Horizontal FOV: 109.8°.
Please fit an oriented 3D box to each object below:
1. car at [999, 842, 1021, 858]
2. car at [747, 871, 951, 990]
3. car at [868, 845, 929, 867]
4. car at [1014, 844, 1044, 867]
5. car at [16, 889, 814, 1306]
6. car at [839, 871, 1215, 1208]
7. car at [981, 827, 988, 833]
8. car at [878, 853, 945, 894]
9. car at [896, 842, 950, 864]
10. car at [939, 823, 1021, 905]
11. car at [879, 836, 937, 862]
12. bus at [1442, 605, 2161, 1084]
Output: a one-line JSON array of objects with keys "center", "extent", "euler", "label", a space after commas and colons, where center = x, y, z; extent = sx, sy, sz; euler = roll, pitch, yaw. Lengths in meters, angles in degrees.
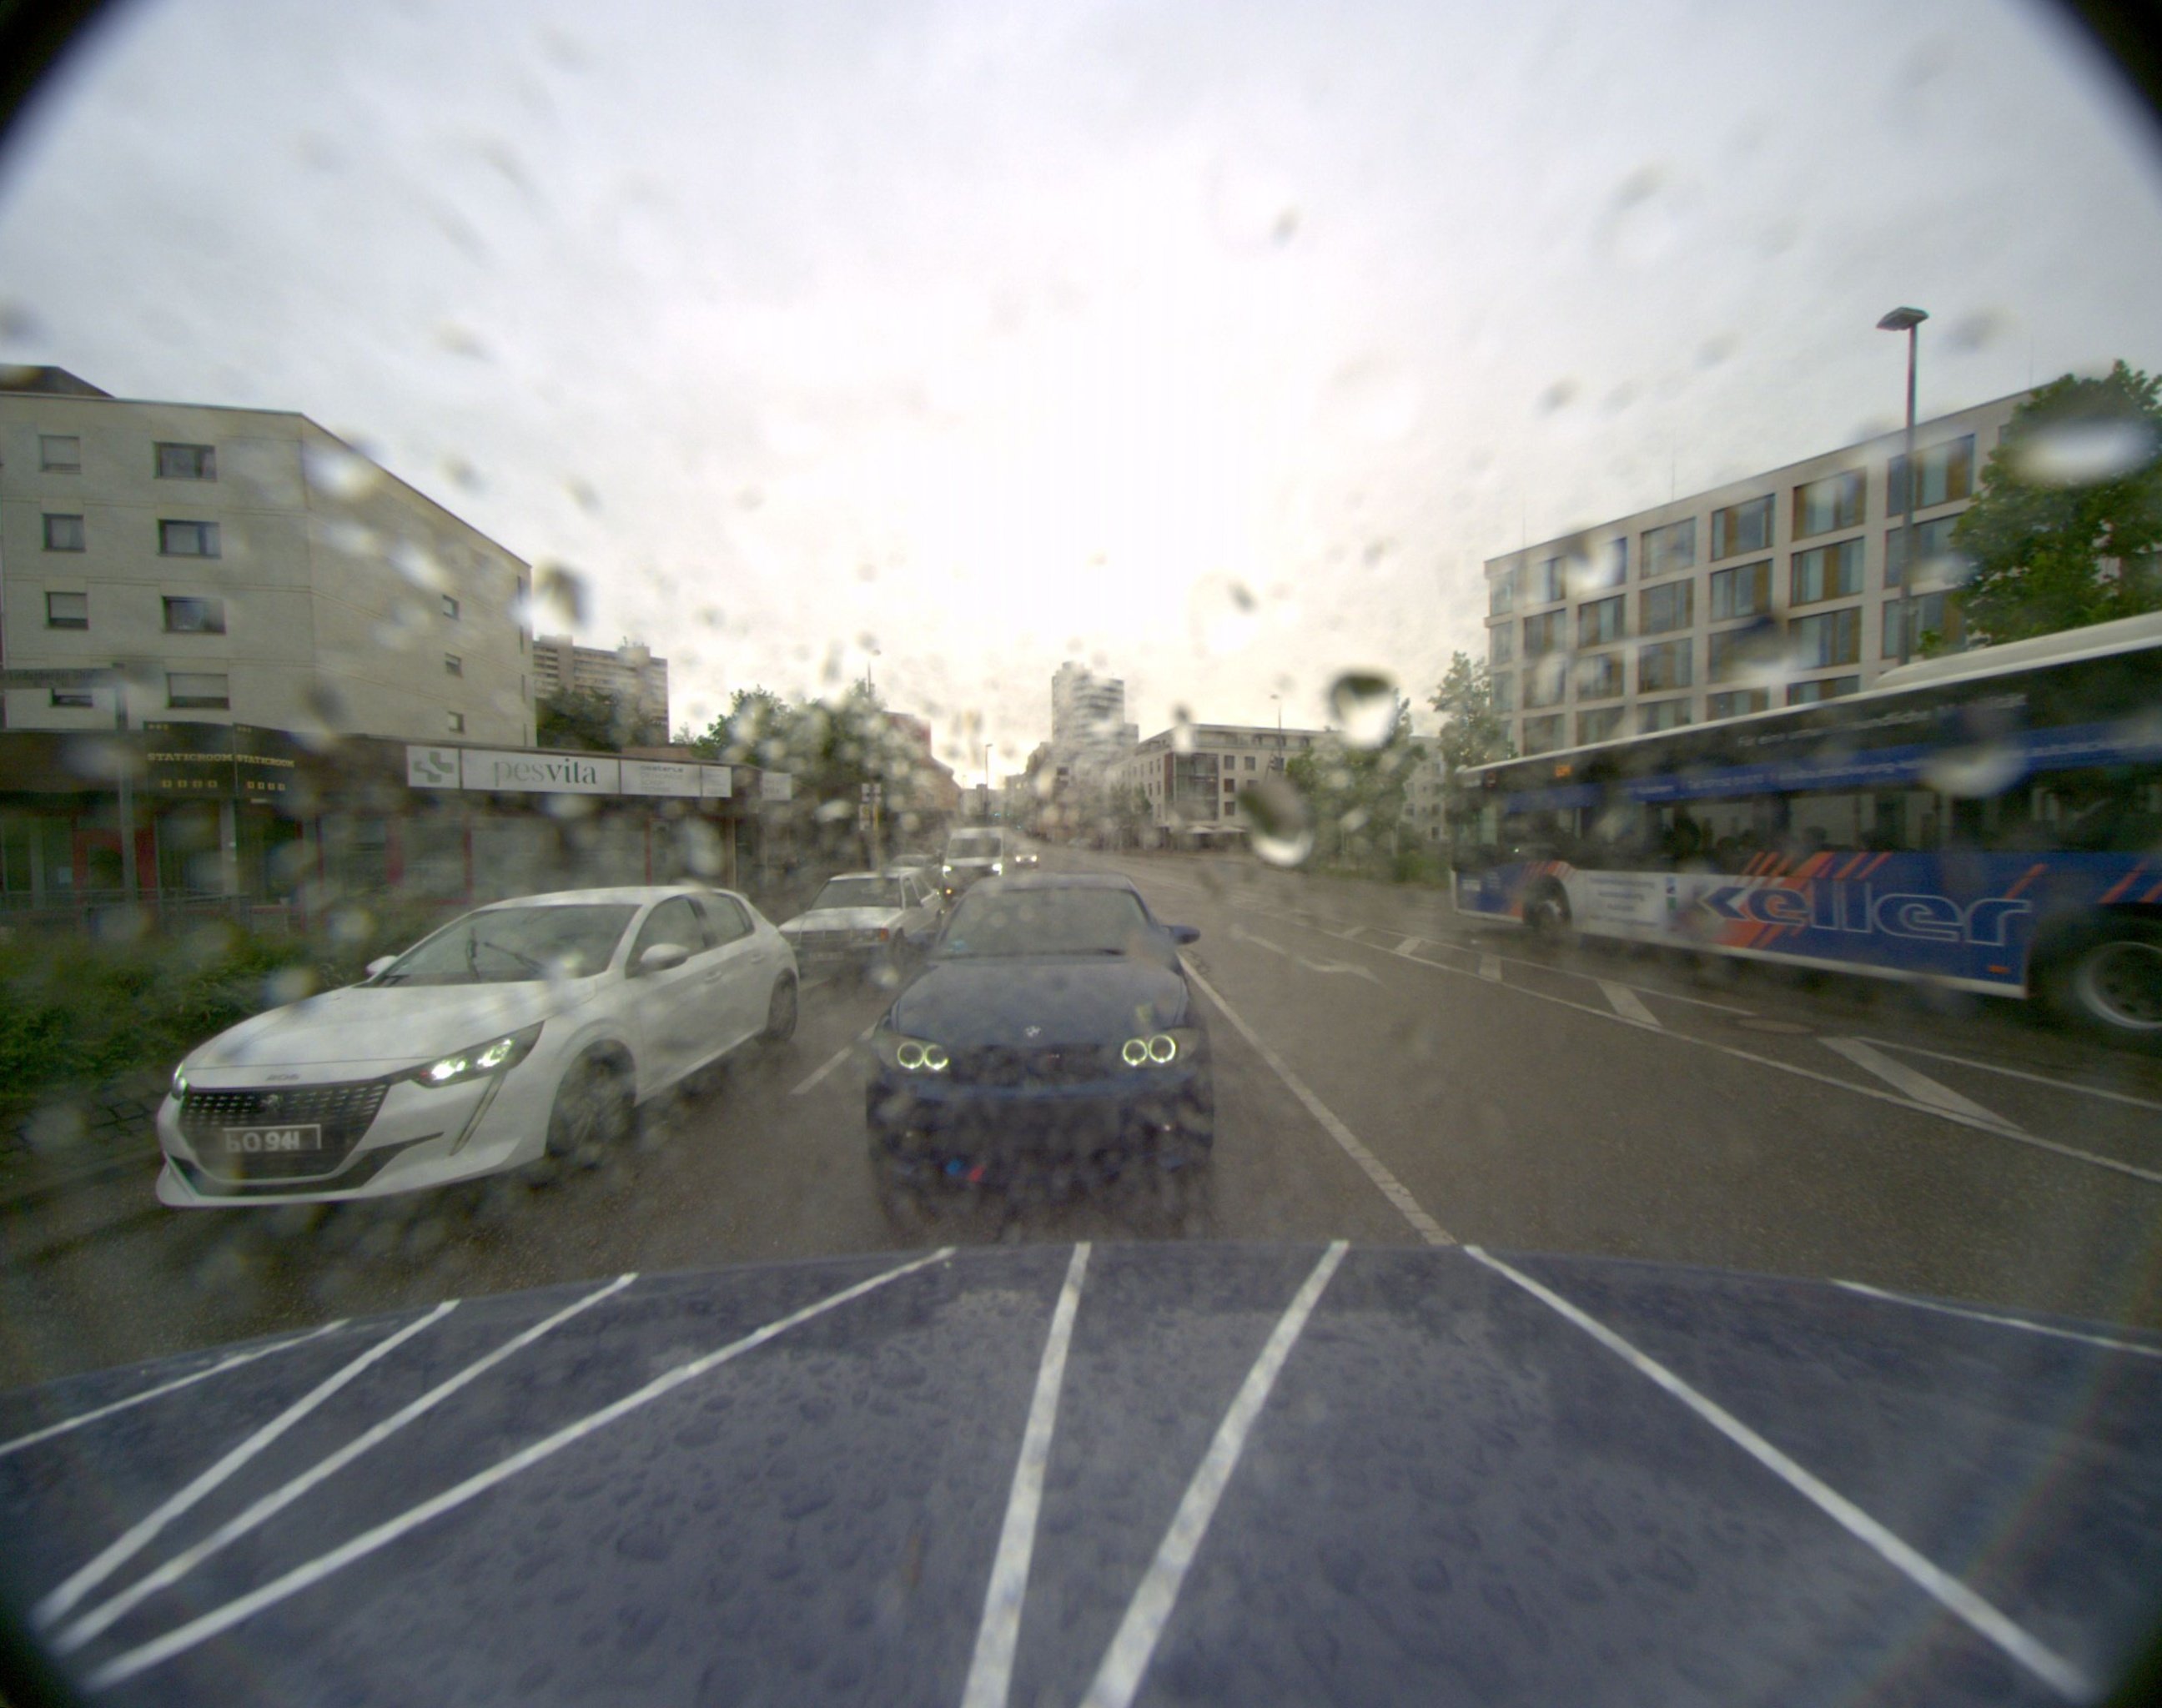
[{"center": [-7.348, -0.454, 78.821], "extent": [1.999, 1.559, 3.998], "euler": [-2, 1, -1], "label": "car"}, {"center": [-3.354, 1.035, 11.895], "extent": [1.788, 1.338, 4.162], "euler": [-2, 1, 1], "label": "car"}, {"center": [-12.653, 0.107, 53.015], "extent": [4.000, 1.419, 1.882], "euler": [-1, 1, -10], "label": "car"}, {"center": [-3.762, 0.075, 55.798], "extent": [1.803, 1.530, 3.999], "euler": [-2, 1, 1], "label": "car"}, {"center": [-3.391, 1.081, 5.109], "extent": [1.666, 1.407, 4.114], "euler": [-2, 1, 1], "label": "car"}, {"center": [-0.290, 0.901, 5.515], "extent": [1.693, 1.380, 3.999], "euler": [-2, 1, -1], "label": "car"}, {"center": [-26.896, -6.751, 211.939], "extent": [1.666, 1.625, 3.801], "euler": [-2, 1, -11], "label": "car"}, {"center": [-6.941, 0.769, 31.544], "extent": [1.788, 1.481, 4.000], "euler": [-2, 1, 1], "label": "car"}, {"center": [-12.176, -0.048, 58.917], "extent": [4.000, 1.584, 1.883], "euler": [-1, -1, -10], "label": "car"}, {"center": [-3.387, 0.243, 26.857], "extent": [2.197, 2.503, 6.120], "euler": [-1, 1, -2], "label": "car"}, {"center": [-12.600, -0.375, 55.487], "extent": [4.000, 1.769, 1.882], "euler": [-1, 1, -10], "label": "car"}, {"center": [8.125, -0.120, 9.238], "extent": [2.799, 3.096, 8.879], "euler": [-1, 1, -3], "label": "bus"}]
